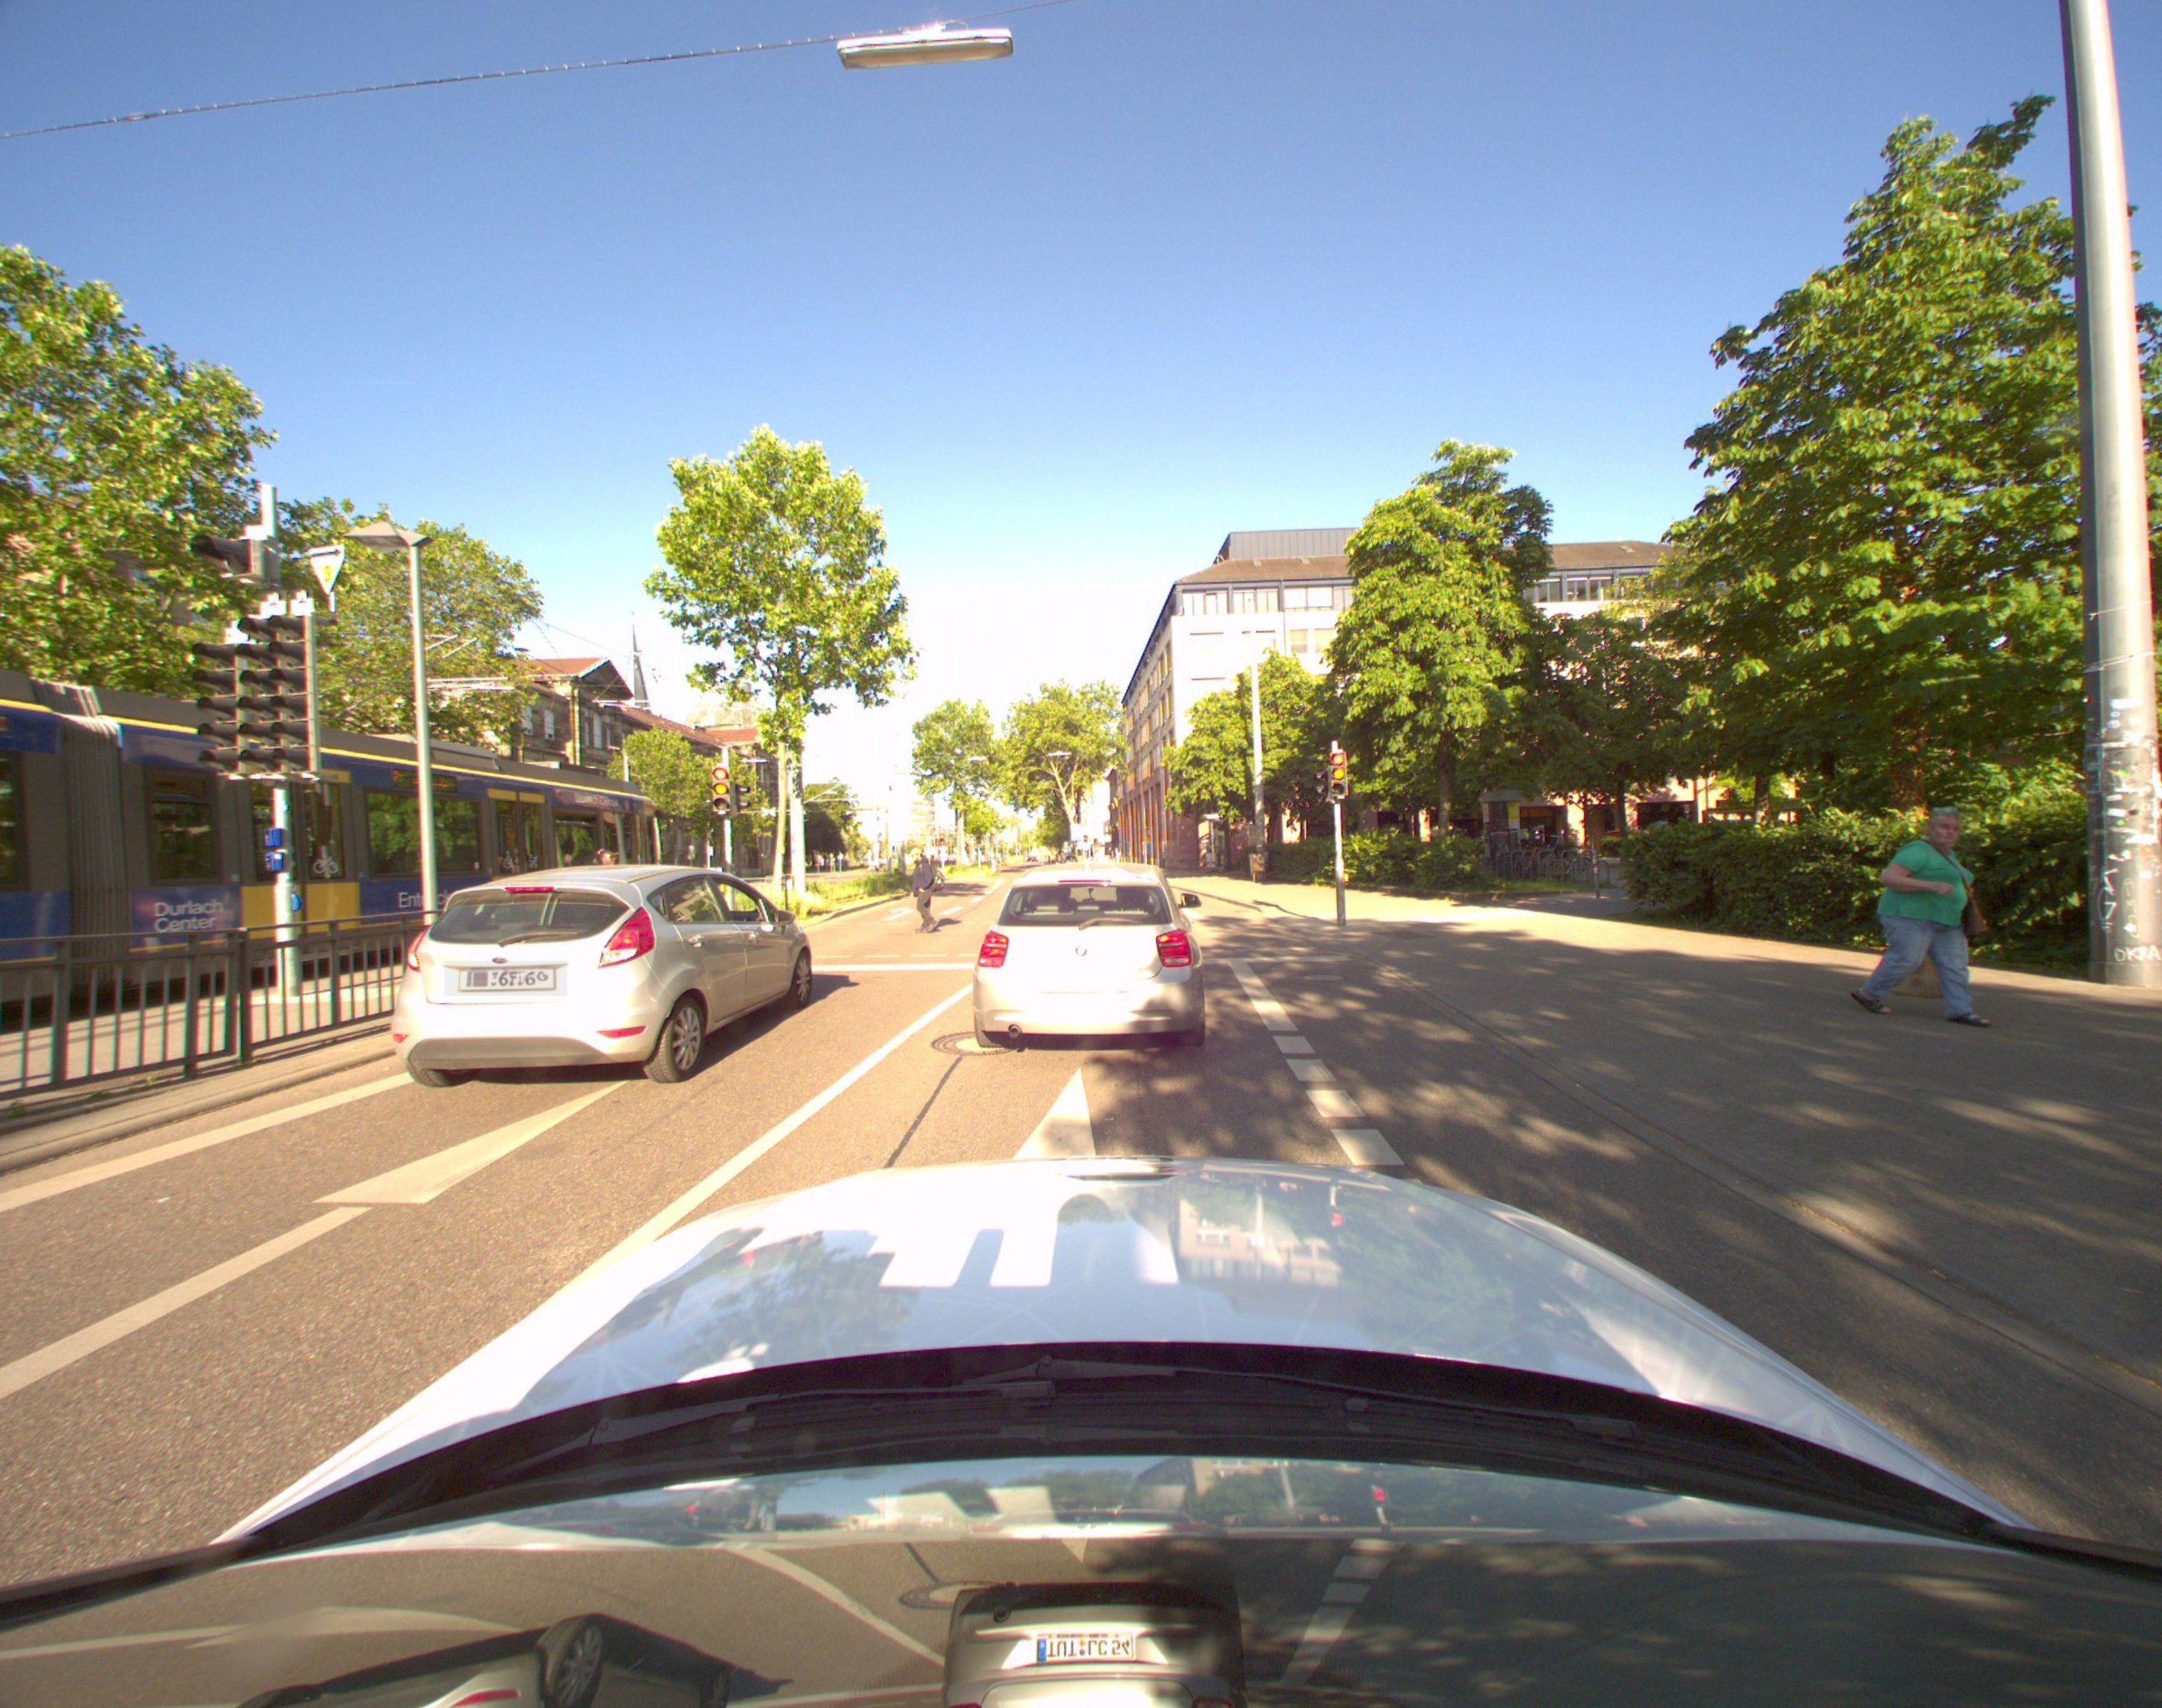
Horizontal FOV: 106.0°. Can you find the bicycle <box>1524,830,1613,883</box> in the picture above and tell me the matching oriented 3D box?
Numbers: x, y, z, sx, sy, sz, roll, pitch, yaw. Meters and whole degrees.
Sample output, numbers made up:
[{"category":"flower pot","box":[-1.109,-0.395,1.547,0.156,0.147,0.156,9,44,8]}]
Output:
[{"category":"bicycle","box":[13.111,0.066,21.938,1.989,1.314,0.574,-3,0,0]}]

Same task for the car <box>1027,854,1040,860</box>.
[{"category":"car","box":[-12.145,0.793,207.717,2.004,1.486,3.965,-2,0,-27]}]

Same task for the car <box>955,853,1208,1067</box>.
[{"category":"car","box":[0.165,0.723,7.488,1.722,1.390,3.845,0,1,5]}]

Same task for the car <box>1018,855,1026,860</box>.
[{"category":"car","box":[-16.192,0.930,223.739,1.990,1.486,3.993,-2,0,-5]}]

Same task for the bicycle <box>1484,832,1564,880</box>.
[{"category":"bicycle","box":[13.203,0.064,24.300,1.989,1.314,0.574,-3,0,0]}]

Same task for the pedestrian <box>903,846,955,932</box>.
[{"category":"pedestrian","box":[-2.961,0.666,15.856,0.941,1.629,0.626,-1,0,-12]}]

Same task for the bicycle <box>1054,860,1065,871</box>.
[{"category":"bicycle","box":[-2.110,1.128,79.643,0.827,1.041,1.878,-3,0,7]}]

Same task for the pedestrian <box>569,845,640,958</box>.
[{"category":"pedestrian","box":[-6.848,0.668,11.730,0.630,1.557,0.645,-2,0,-7]}]

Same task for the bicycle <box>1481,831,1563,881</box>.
[{"category":"bicycle","box":[12.811,0.053,23.685,1.989,1.314,0.574,-3,0,0]}]

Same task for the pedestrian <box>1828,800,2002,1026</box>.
[{"category":"pedestrian","box":[6.380,0.414,6.238,0.743,1.575,0.822,-2,-1,-41]}]

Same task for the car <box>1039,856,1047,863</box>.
[{"category":"car","box":[-11.475,1.716,247.880,1.986,2.014,4.002,0,-1,2]}]

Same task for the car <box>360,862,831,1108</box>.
[{"category":"car","box":[-3.415,0.783,6.615,1.655,1.409,3.631,-1,0,-1]}]

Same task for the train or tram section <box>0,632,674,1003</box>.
[{"category":"train or tram section","box":[-11.201,-0.213,13.569,2.908,3.260,13.096,0,-1,-3]}]

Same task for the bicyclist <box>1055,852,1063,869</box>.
[{"category":"bicyclist","box":[-2.124,0.603,79.600,0.655,1.657,0.766,-3,0,6]}]
